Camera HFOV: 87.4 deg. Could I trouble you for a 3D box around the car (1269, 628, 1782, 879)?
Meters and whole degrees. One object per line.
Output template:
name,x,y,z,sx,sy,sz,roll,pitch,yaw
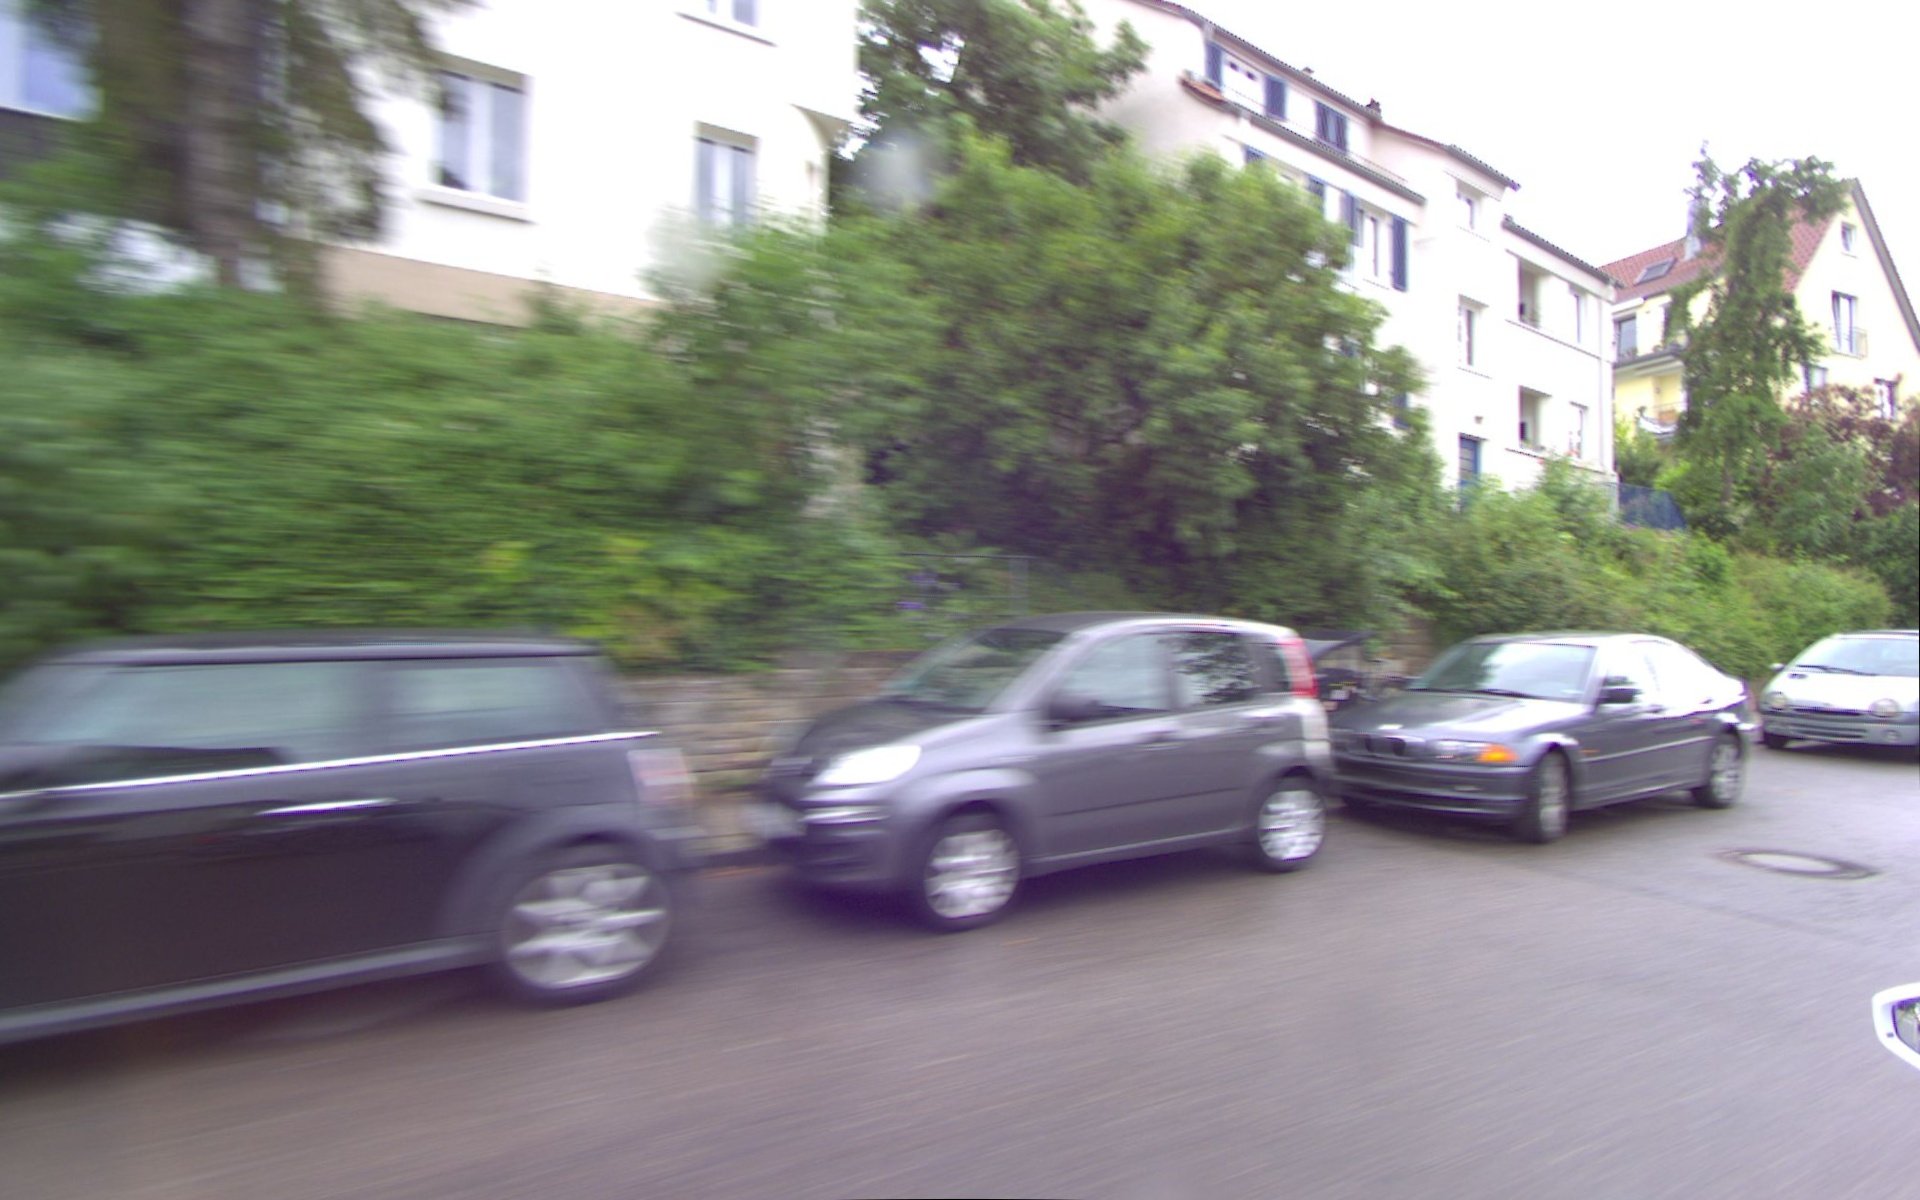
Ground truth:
car,4.733,1.022,8.241,4.365,1.466,1.747,-1,0,-31

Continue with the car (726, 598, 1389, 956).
car,0.678,0.814,6.097,3.770,1.561,1.688,1,-1,-31

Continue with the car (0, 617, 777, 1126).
car,-2.863,0.839,4.078,3.768,1.466,1.884,-1,0,-30

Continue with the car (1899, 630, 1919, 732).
car,15.830,1.204,14.952,3.768,1.466,1.687,2,-2,-30

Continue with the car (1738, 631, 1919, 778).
car,11.361,1.166,12.360,3.586,1.466,1.638,-1,0,-31

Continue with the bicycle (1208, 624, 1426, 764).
bicycle,3.892,0.953,10.906,2.264,1.318,0.999,-1,0,-30
